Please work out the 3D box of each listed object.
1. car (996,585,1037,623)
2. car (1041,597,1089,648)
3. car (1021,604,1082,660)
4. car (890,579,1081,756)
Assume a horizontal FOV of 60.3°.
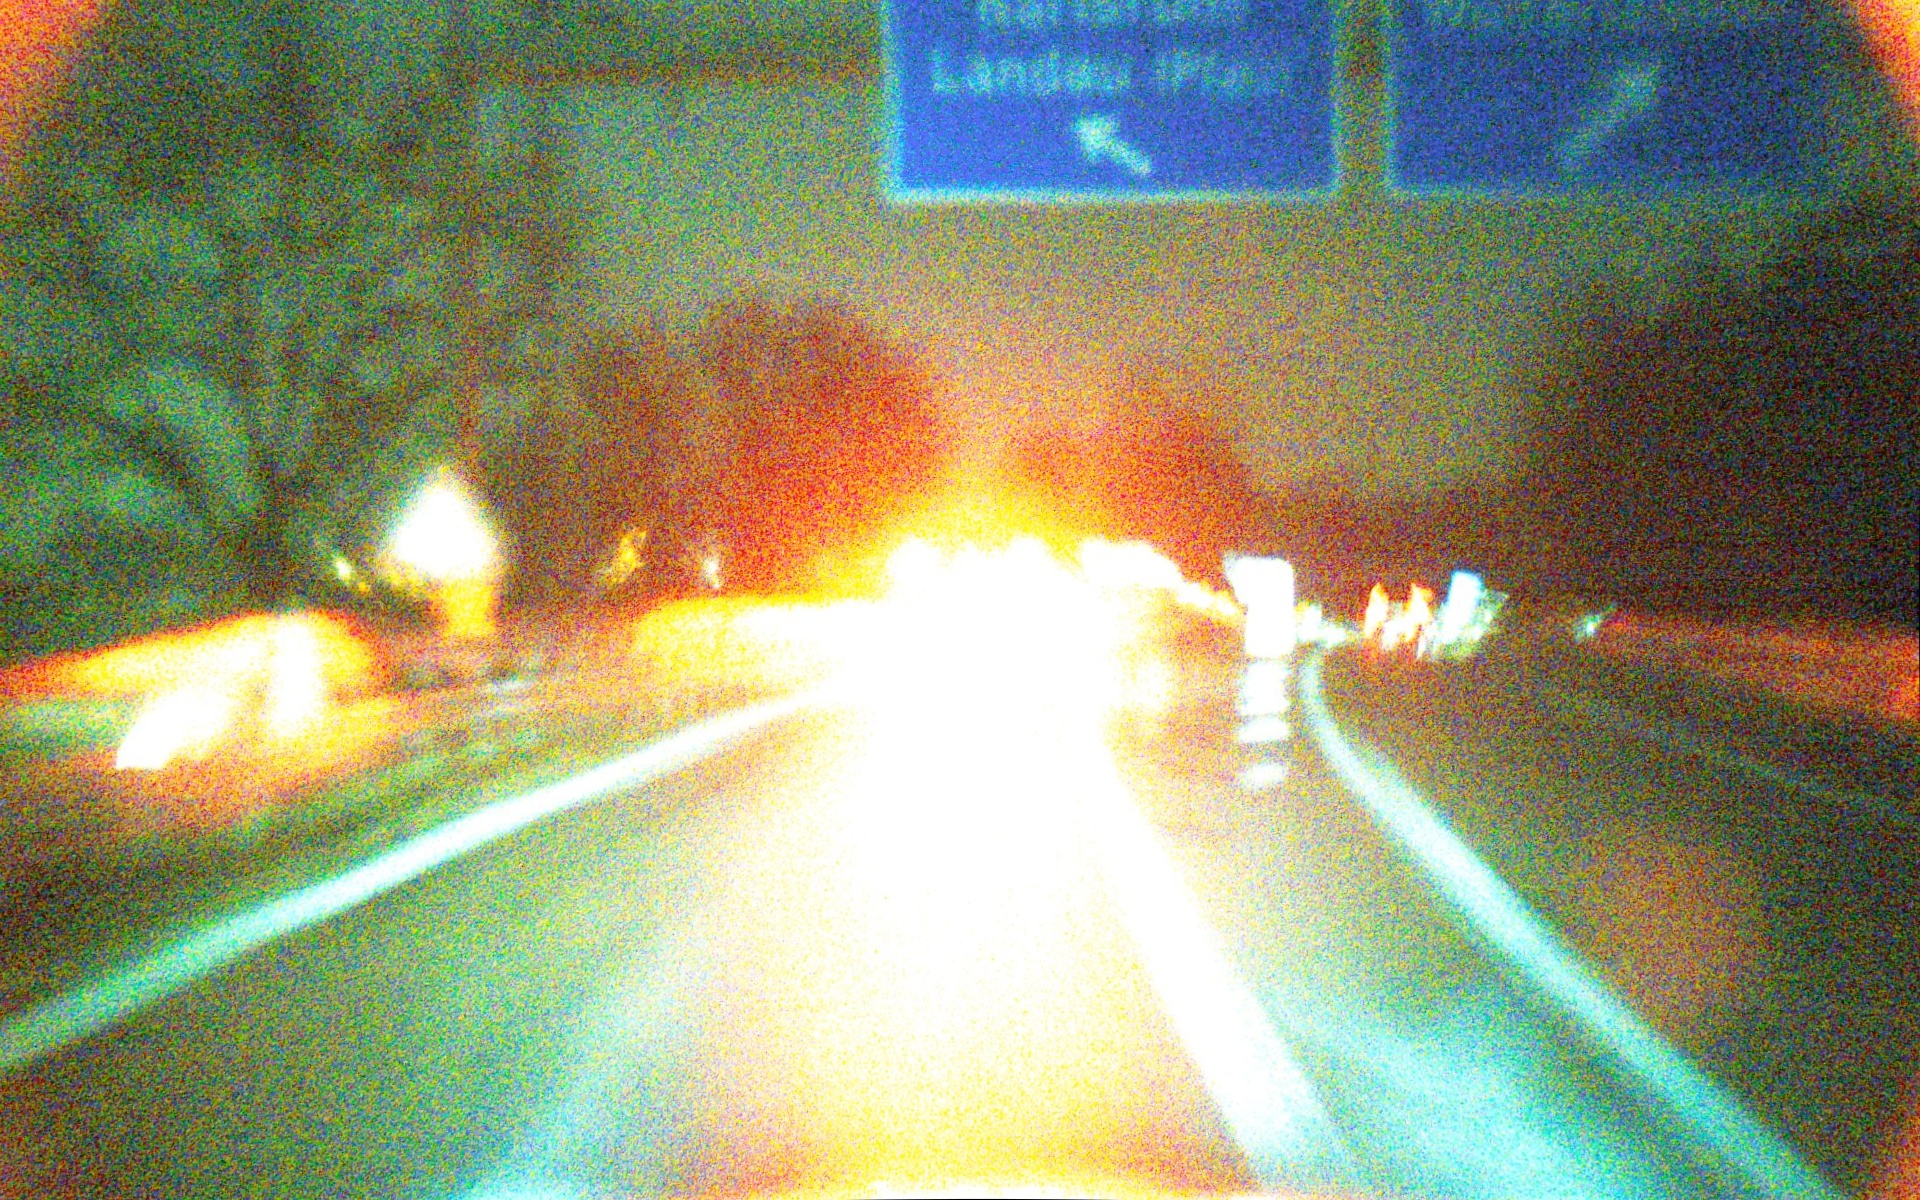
[{"bbox_3d":[3.123,0.239,91.785,1.858,2.033,4.041,0,-1,-4],"label":"car"},{"bbox_3d":[4.445,0.971,69.526,1.855,2.076,4.047,1,-1,5],"label":"car"},{"bbox_3d":[2.995,1.032,53.557,1.855,1.751,4.047,0,-1,4],"label":"car"},{"bbox_3d":[0.248,0.658,18.130,1.822,1.676,4.068,1,0,0],"label":"car"}]
